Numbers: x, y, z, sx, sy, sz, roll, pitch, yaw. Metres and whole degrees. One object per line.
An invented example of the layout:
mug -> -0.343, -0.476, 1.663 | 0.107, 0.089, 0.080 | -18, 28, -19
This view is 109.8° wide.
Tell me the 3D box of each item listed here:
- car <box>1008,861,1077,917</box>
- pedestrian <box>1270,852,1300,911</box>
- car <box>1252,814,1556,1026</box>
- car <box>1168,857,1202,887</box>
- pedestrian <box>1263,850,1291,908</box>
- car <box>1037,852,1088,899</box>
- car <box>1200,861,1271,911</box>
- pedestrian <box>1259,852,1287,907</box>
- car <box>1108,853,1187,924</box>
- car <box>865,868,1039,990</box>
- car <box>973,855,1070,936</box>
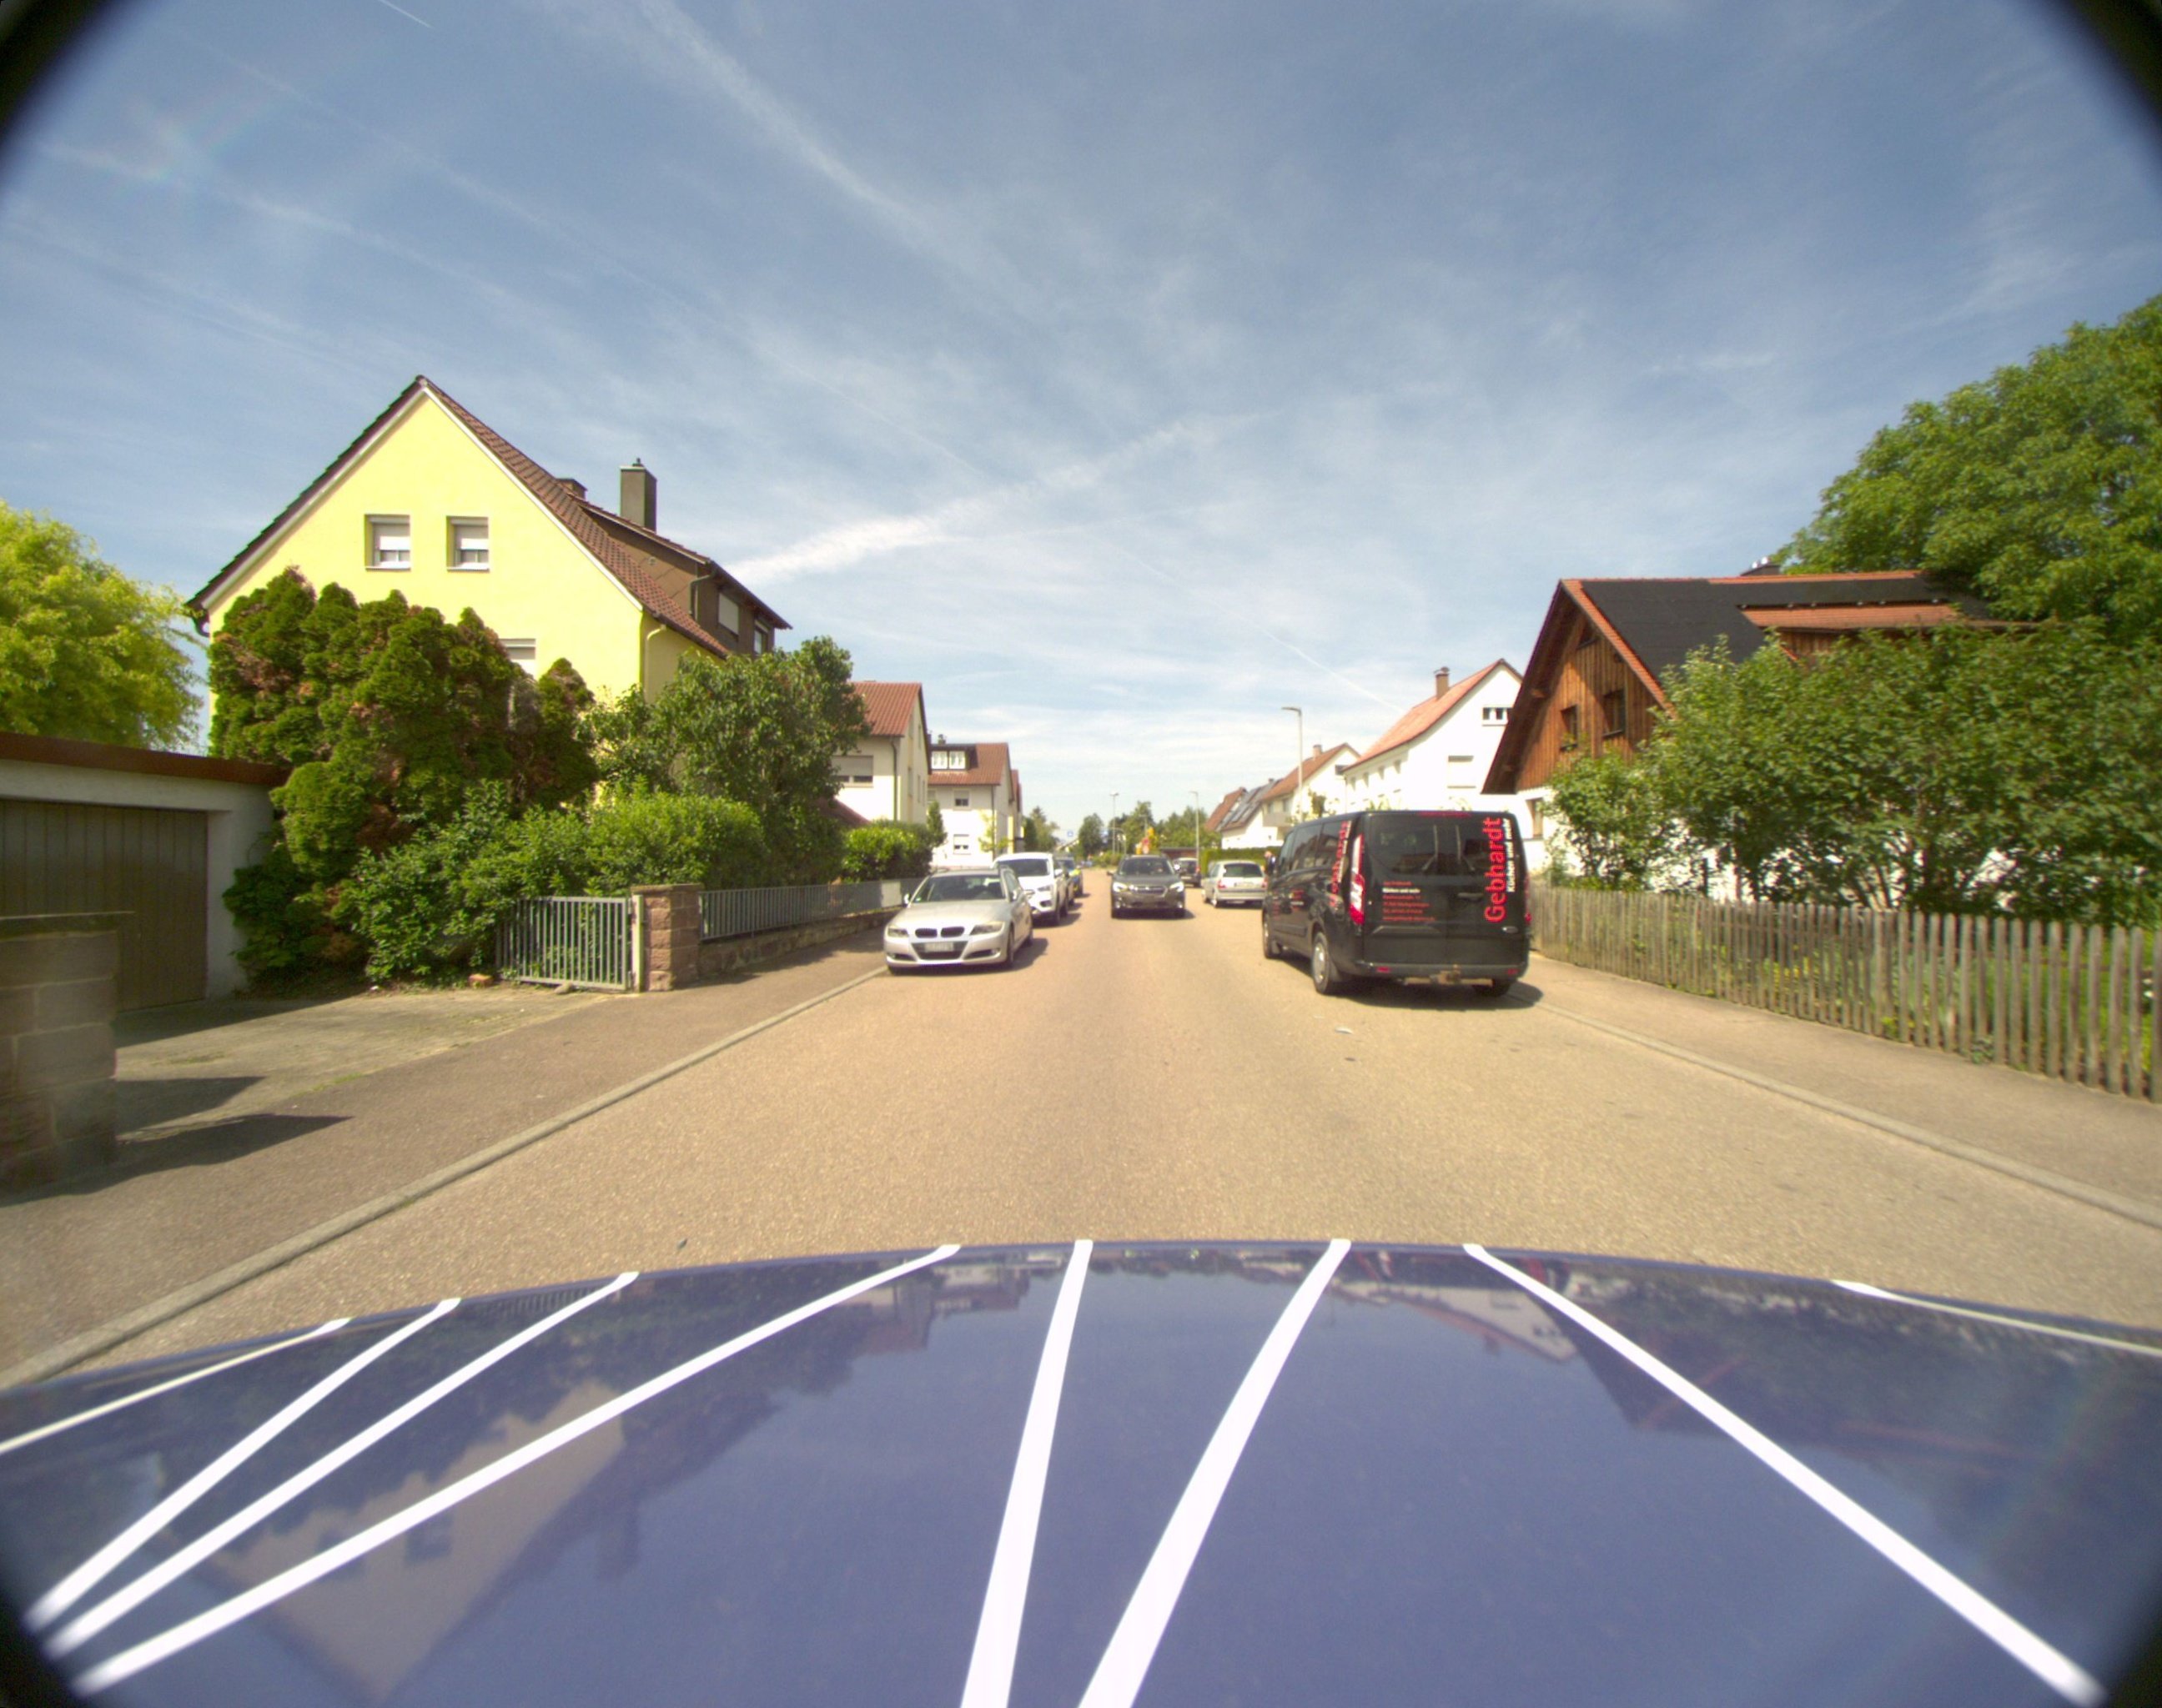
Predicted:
car -> -1.086, 0.998, 23.475 | 1.628, 1.460, 4.373 | -2, 0, 3
pedestrian -> 5.819, 0.773, 21.713 | 0.639, 1.633, 0.600 | -3, 0, 3
car -> 3.534, 0.624, 9.443 | 1.972, 1.940, 4.697 | -1, 0, 3
car -> 5.433, 0.906, 39.967 | 1.601, 1.450, 3.661 | 0, 0, 5
pedestrian -> 5.811, 0.731, 22.548 | 0.639, 1.672, 0.590 | -3, 0, 3
car -> -0.688, 0.806, 30.513 | 1.669, 1.739, 4.056 | -2, 0, 3
car -> 4.728, 0.939, 23.608 | 1.585, 1.434, 3.266 | 0, 0, 1
pedestrian -> 5.850, 0.764, 23.187 | 0.639, 1.633, 0.590 | -3, 0, 3
car -> 1.634, 0.810, 19.994 | 1.838, 1.637, 4.324 | -1, 0, 2
car -> -1.785, 1.006, 11.966 | 1.755, 1.412, 4.421 | -2, 0, 2
car -> -1.294, 0.888, 18.349 | 1.740, 1.652, 4.338 | -2, 0, 3
